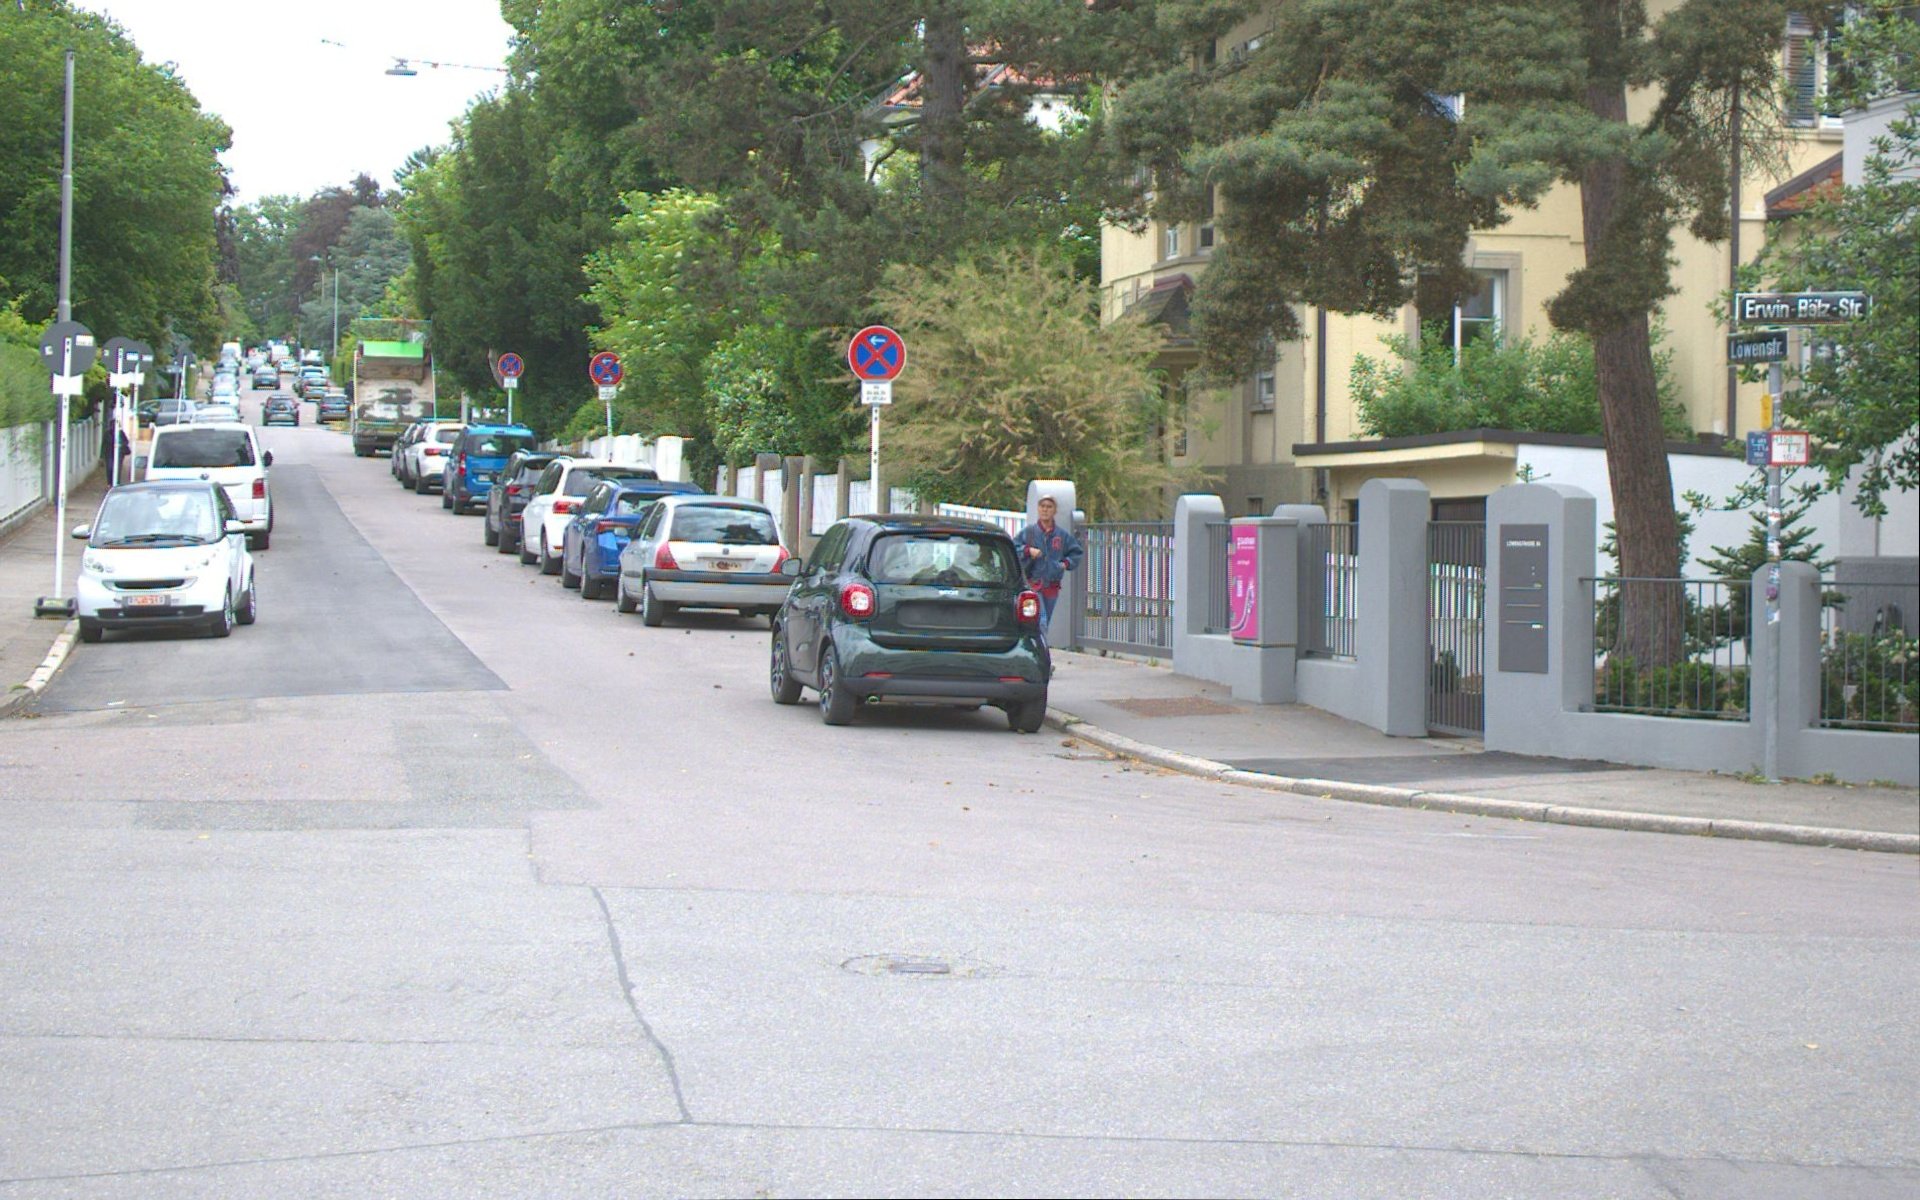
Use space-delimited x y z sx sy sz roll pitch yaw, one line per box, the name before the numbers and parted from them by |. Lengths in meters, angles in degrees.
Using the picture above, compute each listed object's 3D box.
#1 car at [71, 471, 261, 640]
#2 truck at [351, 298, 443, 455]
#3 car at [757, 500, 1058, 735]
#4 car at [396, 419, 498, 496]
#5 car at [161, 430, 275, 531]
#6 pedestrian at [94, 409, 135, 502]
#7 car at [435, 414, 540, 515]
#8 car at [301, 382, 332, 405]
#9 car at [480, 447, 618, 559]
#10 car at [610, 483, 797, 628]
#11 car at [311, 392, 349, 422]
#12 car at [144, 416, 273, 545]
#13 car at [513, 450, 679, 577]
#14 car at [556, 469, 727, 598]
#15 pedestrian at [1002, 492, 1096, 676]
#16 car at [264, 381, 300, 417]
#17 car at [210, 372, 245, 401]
car | -8.066 -0.490 35.094 1.442 1.546 2.770 -2 4 -5
truck | -18.002 -7.114 109.620 2.523 4.731 7.190 2 3 -11
car | -0.450 0.092 26.064 1.571 1.526 2.869 3 2 -14
car | -11.916 -3.320 79.722 1.757 1.600 4.577 2 3 -15
car | -12.964 -2.119 59.908 1.790 1.617 4.345 -1 4 -14
pedestrian | -18.635 -3.190 75.762 0.811 2.006 0.860 1 3 -11
car | -9.540 -2.751 69.171 1.682 1.823 4.159 3 3 -13
car | -41.284 -13.255 220.512 1.809 1.331 3.634 2 4 -13
car | -6.607 -1.583 54.975 1.749 1.602 4.077 3 2 -12
car | -2.900 -0.528 38.287 1.573 1.395 3.657 2 3 -11
car | -32.623 -9.979 177.983 1.778 1.484 4.002 1 3 -13
car | -11.799 -1.927 54.141 1.854 1.906 4.621 -2 3 -11
car | -5.262 -1.270 49.291 1.784 1.597 4.306 2 3 -13
car | -4.041 -0.868 43.144 1.647 1.453 4.053 2 2 -12
pedestrian | 0.776 -0.147 30.164 0.681 1.571 0.907 -2 1 -6
car | -33.813 -10.029 171.486 1.633 1.695 3.496 1 4 -13
car | -41.595 -12.101 195.211 1.711 1.580 4.002 1 3 -9
